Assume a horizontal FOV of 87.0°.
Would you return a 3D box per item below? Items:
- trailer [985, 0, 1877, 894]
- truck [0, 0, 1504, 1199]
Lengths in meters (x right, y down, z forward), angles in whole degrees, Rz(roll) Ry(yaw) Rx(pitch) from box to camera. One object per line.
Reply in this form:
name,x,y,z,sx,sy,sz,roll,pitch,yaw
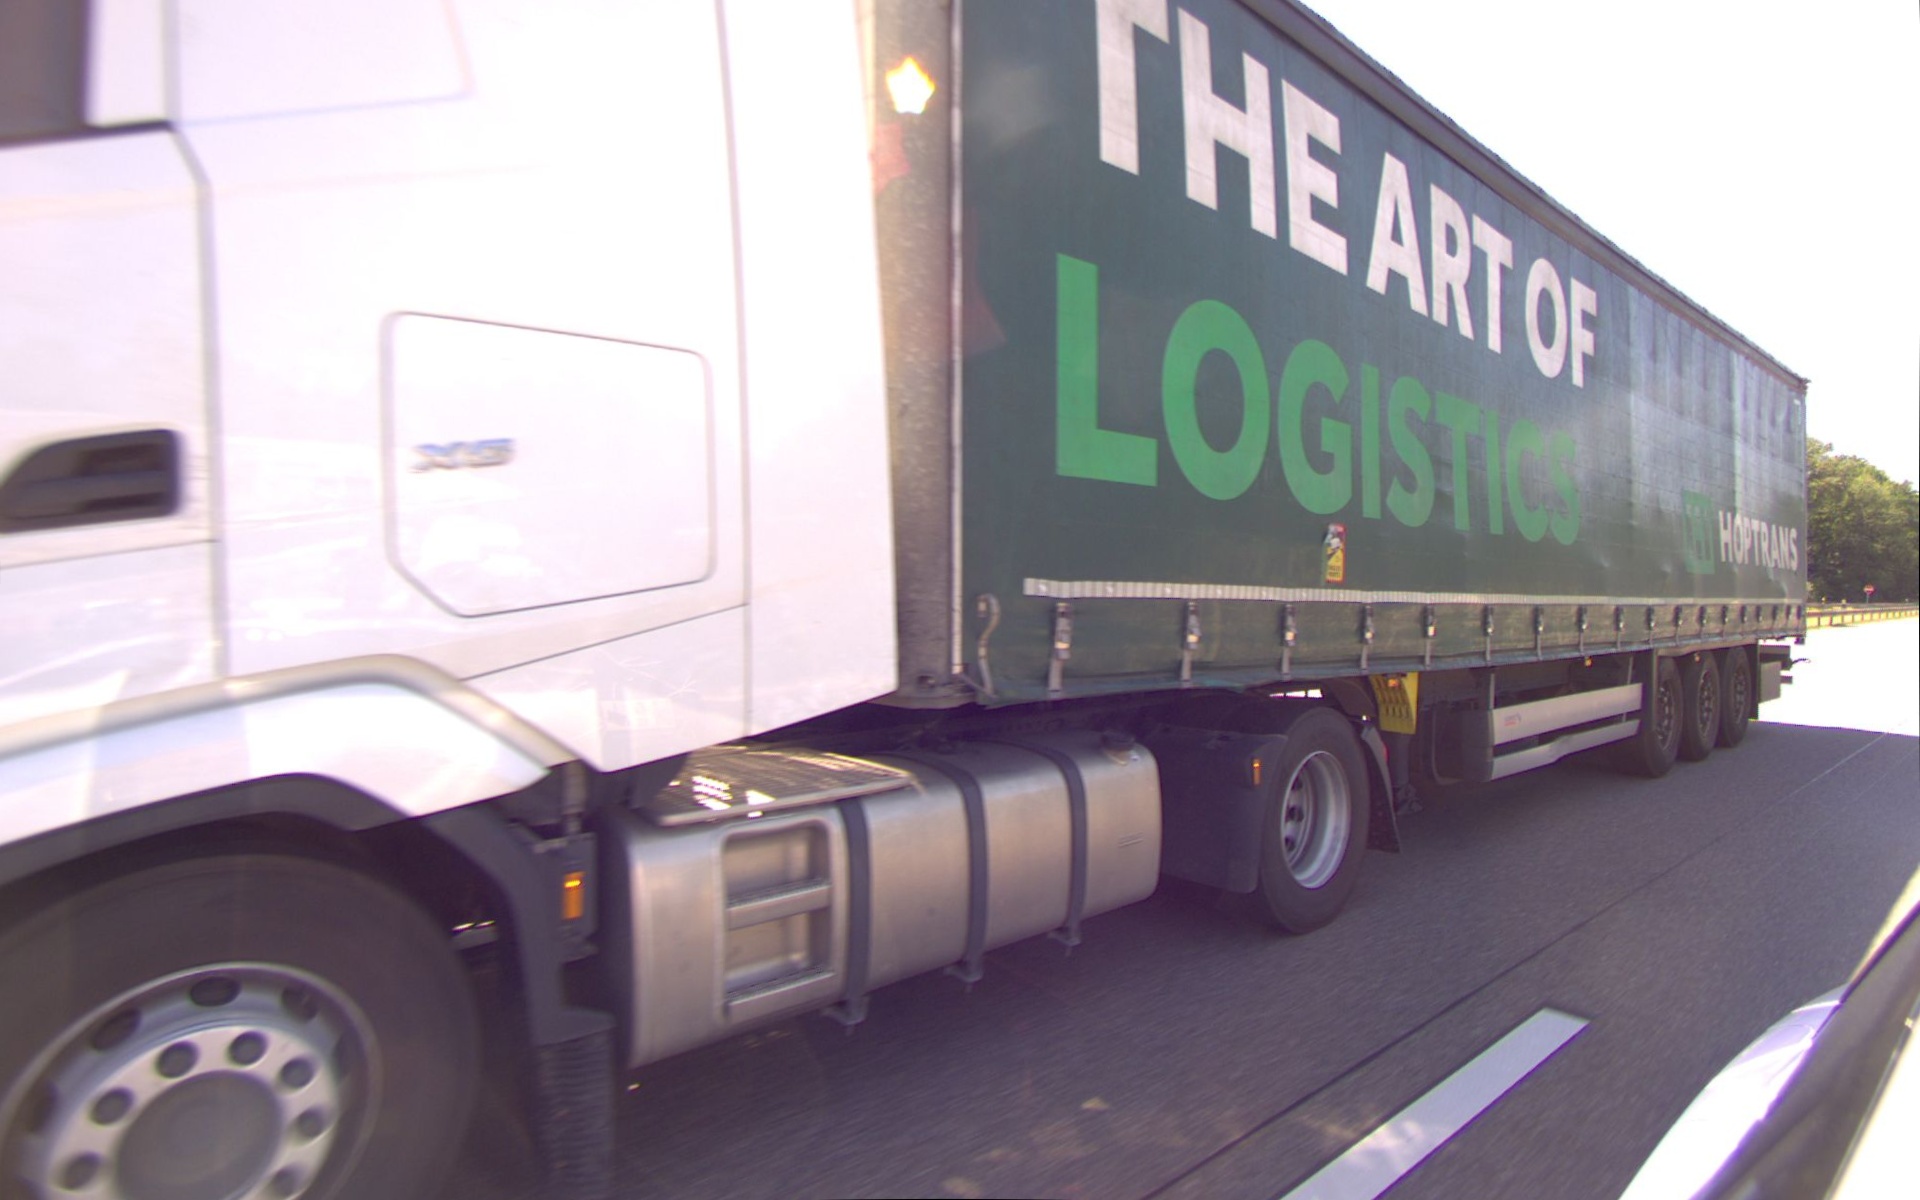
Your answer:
trailer,6.601,-0.904,10.569,14.722,4.326,2.860,-1,0,-42
truck,-0.630,-0.817,4.111,6.746,4.326,2.860,-1,0,-42
